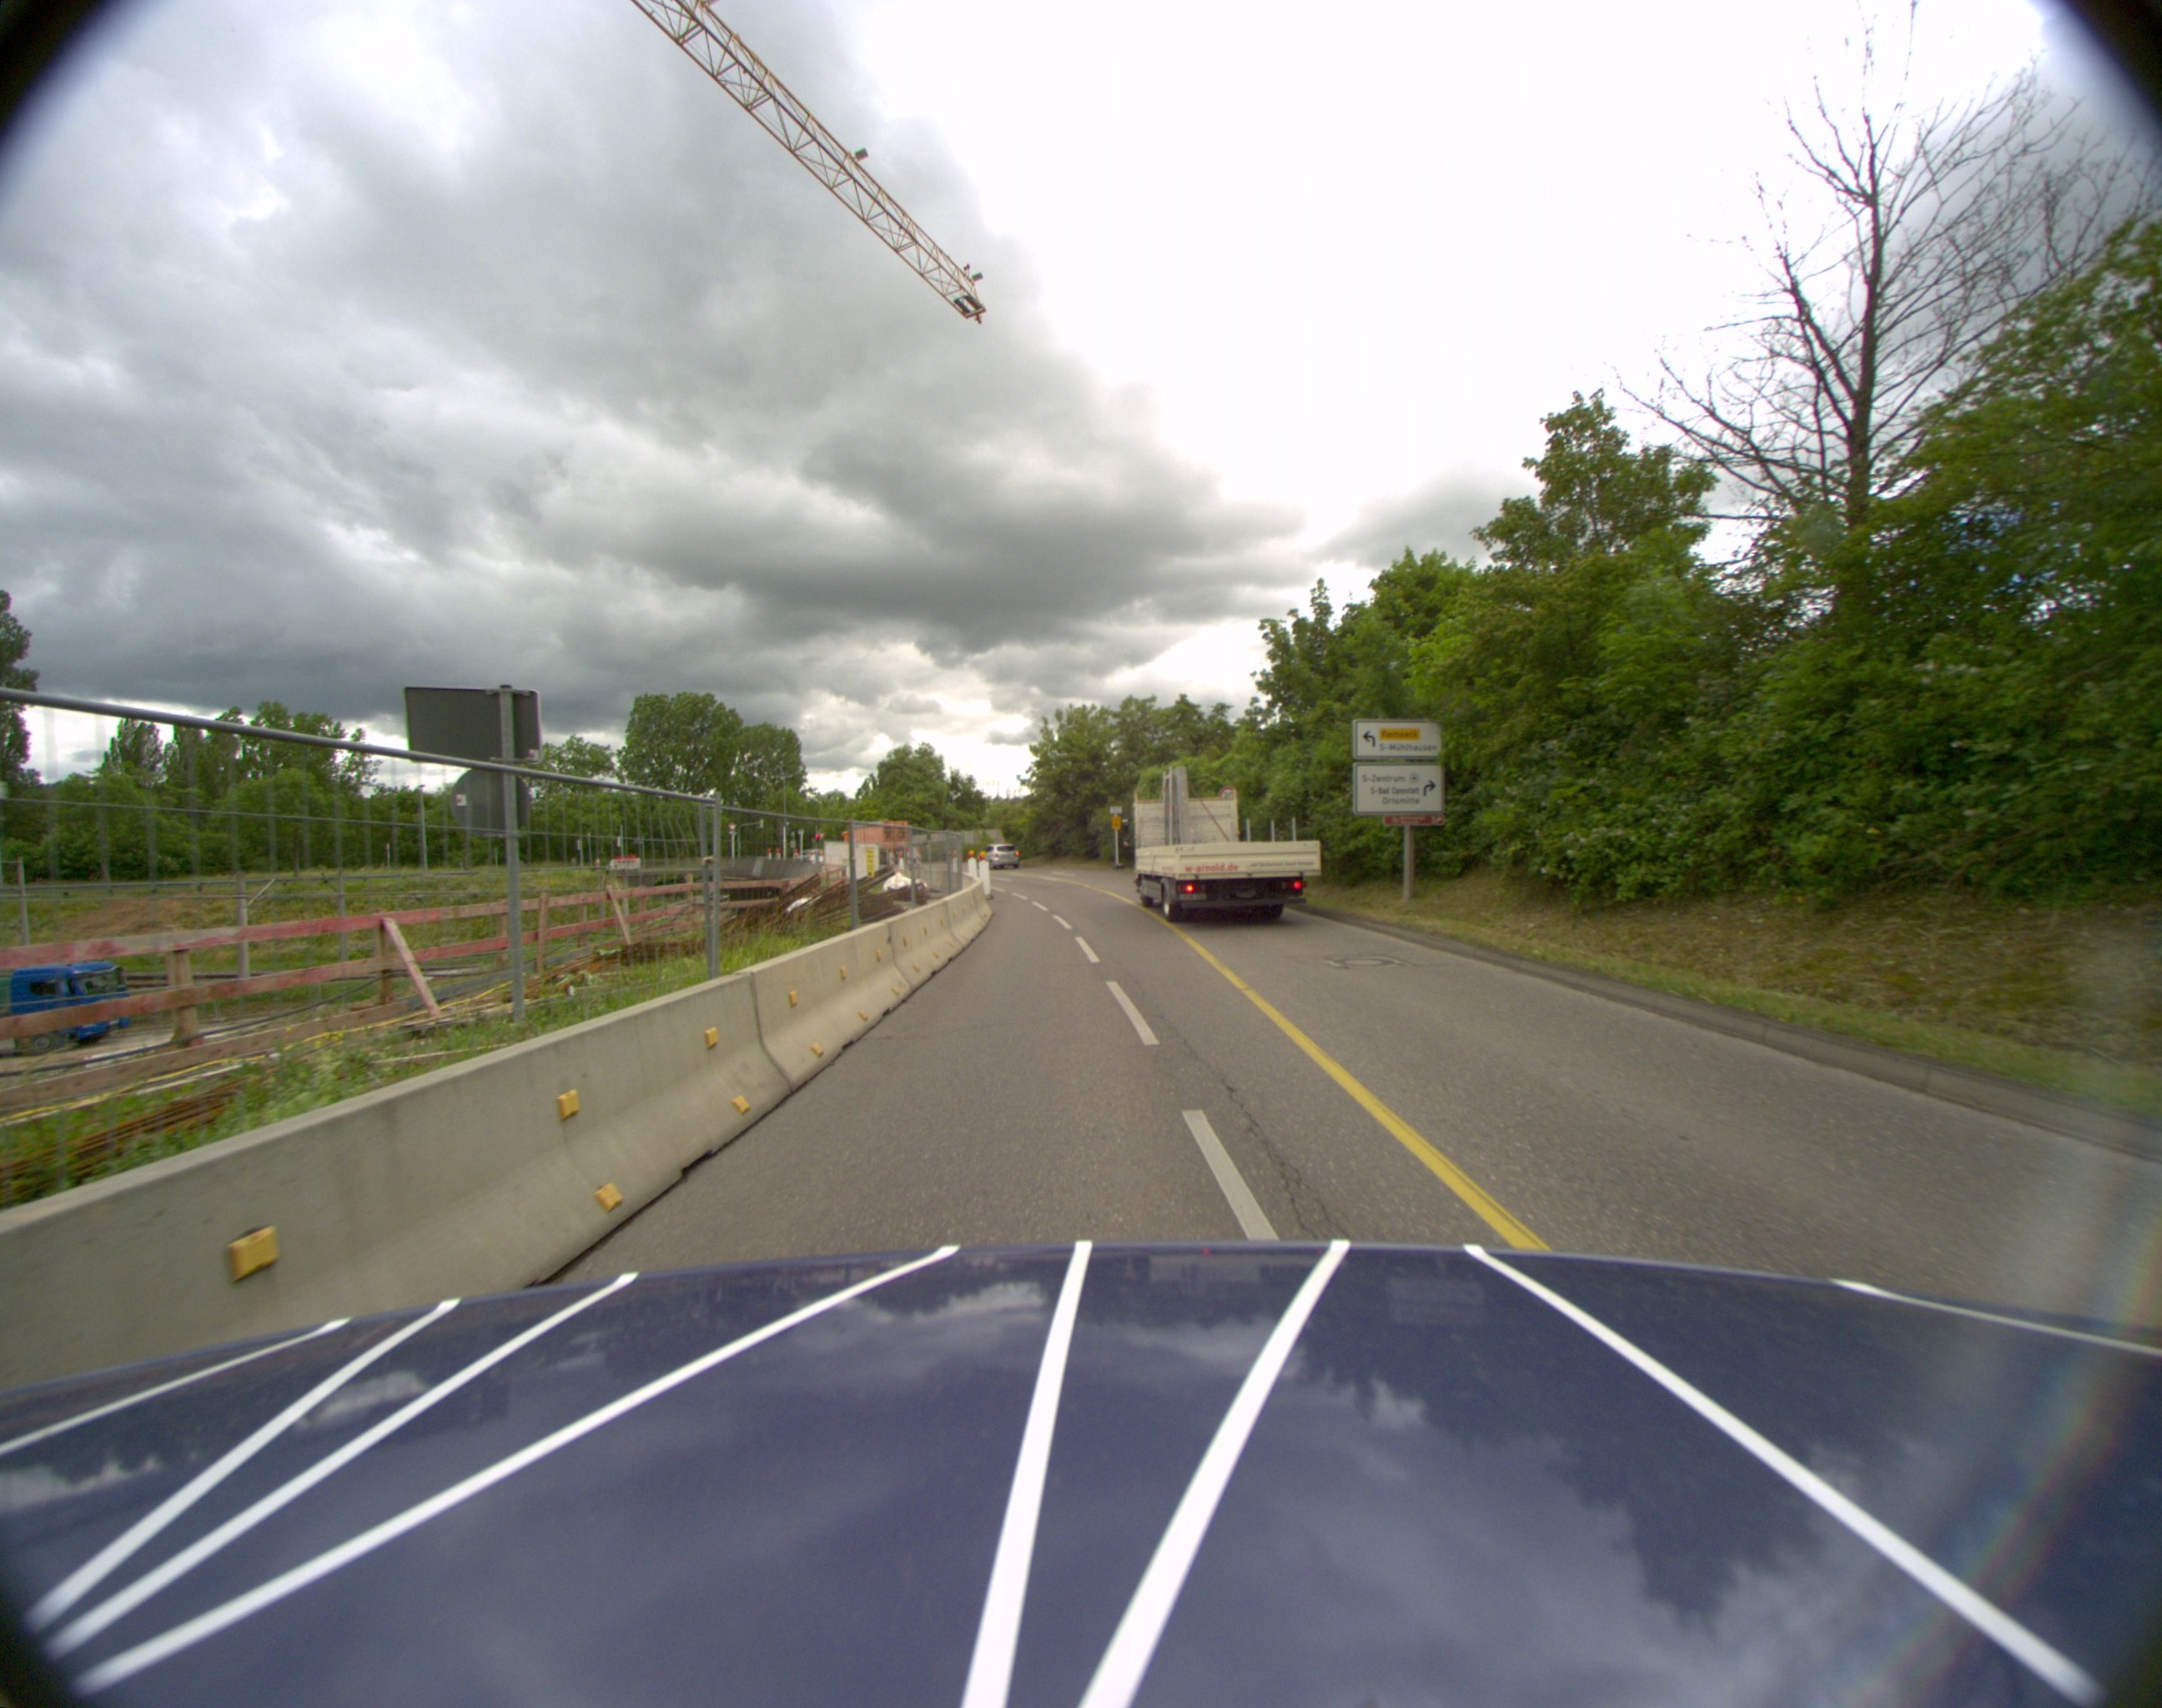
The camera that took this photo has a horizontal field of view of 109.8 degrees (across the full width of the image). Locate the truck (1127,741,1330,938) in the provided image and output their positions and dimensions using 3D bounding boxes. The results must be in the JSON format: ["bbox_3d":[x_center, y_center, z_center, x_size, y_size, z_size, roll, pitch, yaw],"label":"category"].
[{"bbox_3d":[2.760,-0.333,16.755,2.758,3.240,7.608,-2,1,-1],"label":"truck"}]

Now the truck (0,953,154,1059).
[{"bbox_3d":[-44.877,6.570,32.395,6.136,3.742,2.415,-4,2,-21],"label":"truck"}]

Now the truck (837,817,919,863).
[{"bbox_3d":[-18.779,-1.196,69.775,3.046,3.876,9.975,-4,2,-41],"label":"truck"}]

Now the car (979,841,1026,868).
[{"bbox_3d":[-5.119,0.022,48.989,1.896,1.554,4.092,-3,2,-22],"label":"car"}]

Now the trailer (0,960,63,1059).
[{"bbox_3d":[-49.036,6.867,30.815,9.148,3.742,2.415,-4,2,-21],"label":"trailer"}]
